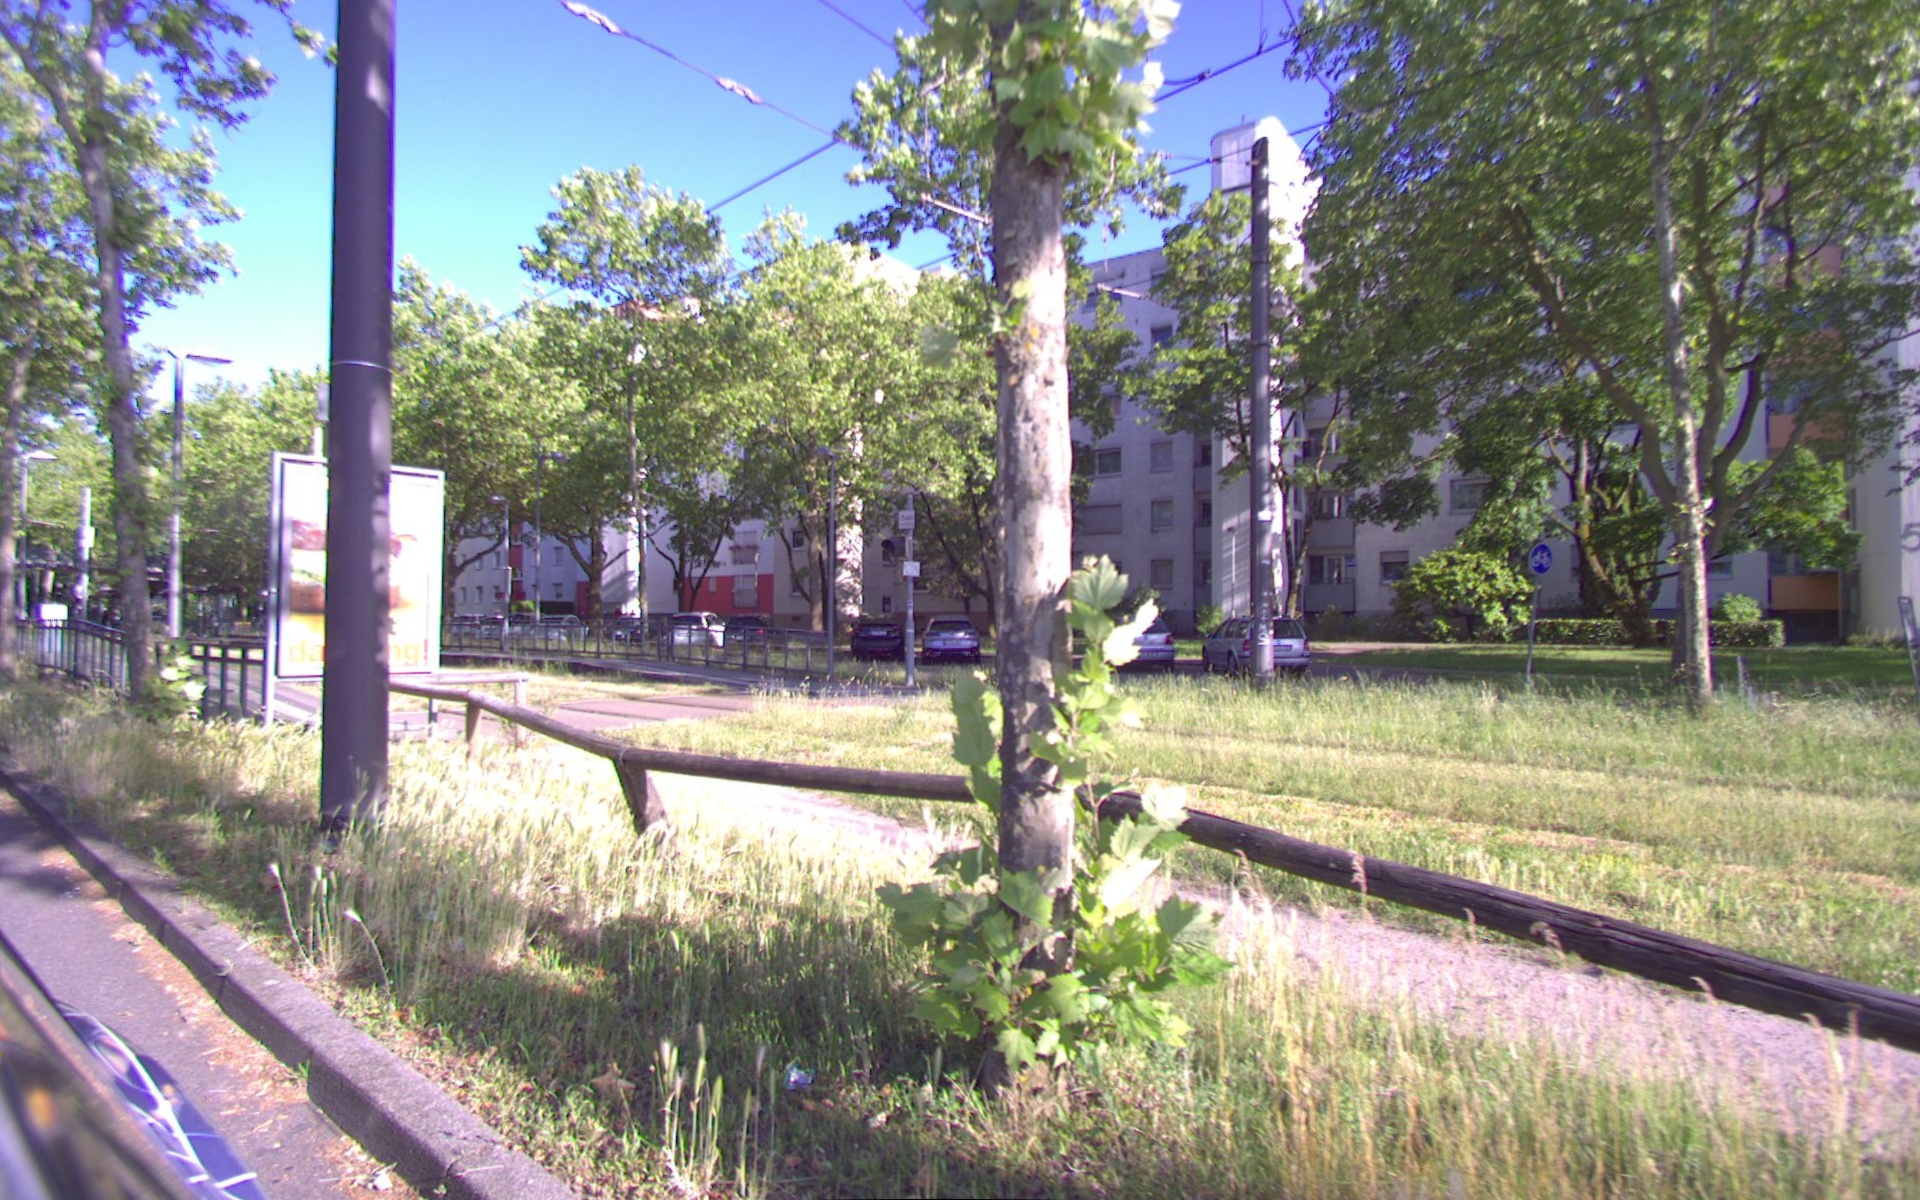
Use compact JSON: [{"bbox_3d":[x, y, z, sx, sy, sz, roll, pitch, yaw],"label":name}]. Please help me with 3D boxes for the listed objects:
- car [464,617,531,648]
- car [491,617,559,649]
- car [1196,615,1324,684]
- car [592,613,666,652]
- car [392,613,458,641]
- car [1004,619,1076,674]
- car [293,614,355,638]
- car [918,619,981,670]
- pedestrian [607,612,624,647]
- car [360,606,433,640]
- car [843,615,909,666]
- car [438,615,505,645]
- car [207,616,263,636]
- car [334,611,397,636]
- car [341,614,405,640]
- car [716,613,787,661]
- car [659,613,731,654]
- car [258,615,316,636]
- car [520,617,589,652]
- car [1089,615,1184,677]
[{"bbox_3d":[-24.070,1.667,52.786,1.769,1.510,4.051,-1,-1,-2],"label":"car"},{"bbox_3d":[-21.701,1.625,50.637,1.769,1.510,4.051,-1,-1,-2],"label":"car"},{"bbox_3d":[7.131,1.123,24.515,1.789,1.498,4.050,-1,-1,-1],"label":"car"},{"bbox_3d":[-13.853,1.323,42.599,1.771,1.510,4.048,-1,-1,1],"label":"car"},{"bbox_3d":[-31.040,1.556,58.837,1.769,1.510,4.051,-1,-1,-2],"label":"car"},{"bbox_3d":[2.214,1.284,28.958,1.653,1.398,4.050,-1,-1,-1],"label":"car"},{"bbox_3d":[-42.855,1.732,68.327,1.769,1.510,4.051,-1,-1,-2],"label":"car"},{"bbox_3d":[-0.342,1.321,31.304,1.770,1.398,4.050,-1,-1,-1],"label":"car"},{"bbox_3d":[-20.525,1.741,60.276,0.644,2.029,0.672,-1,-1,37],"label":"pedestrian"},{"bbox_3d":[-33.523,1.365,60.353,1.992,1.933,4.434,-1,-1,-2],"label":"car"},{"bbox_3d":[-2.712,1.281,33.352,1.771,1.510,4.048,-1,-1,1],"label":"car"},{"bbox_3d":[-26.240,1.569,54.479,1.769,1.510,4.051,-1,-1,-2],"label":"car"},{"bbox_3d":[-58.528,2.070,81.784,1.769,1.510,4.051,-1,-1,-2],"label":"car"},{"bbox_3d":[-38.190,1.468,65.130,1.769,1.510,4.051,-1,-1,-2],"label":"car"},{"bbox_3d":[-36.140,1.628,62.430,1.769,1.510,4.051,-1,-1,-2],"label":"car"},{"bbox_3d":[-7.824,1.362,38.317,1.771,1.676,4.048,-1,-1,1],"label":"car"},{"bbox_3d":[-10.538,1.293,40.533,1.771,1.510,4.048,-1,-1,1],"label":"car"},{"bbox_3d":[-50.052,1.881,75.372,1.769,1.510,4.051,-1,-1,-2],"label":"car"},{"bbox_3d":[-19.096,1.594,47.798,1.769,1.510,4.051,-1,-1,-2],"label":"car"},{"bbox_3d":[4.686,1.190,27.402,1.739,1.498,4.050,-1,-1,-1],"label":"car"}]
